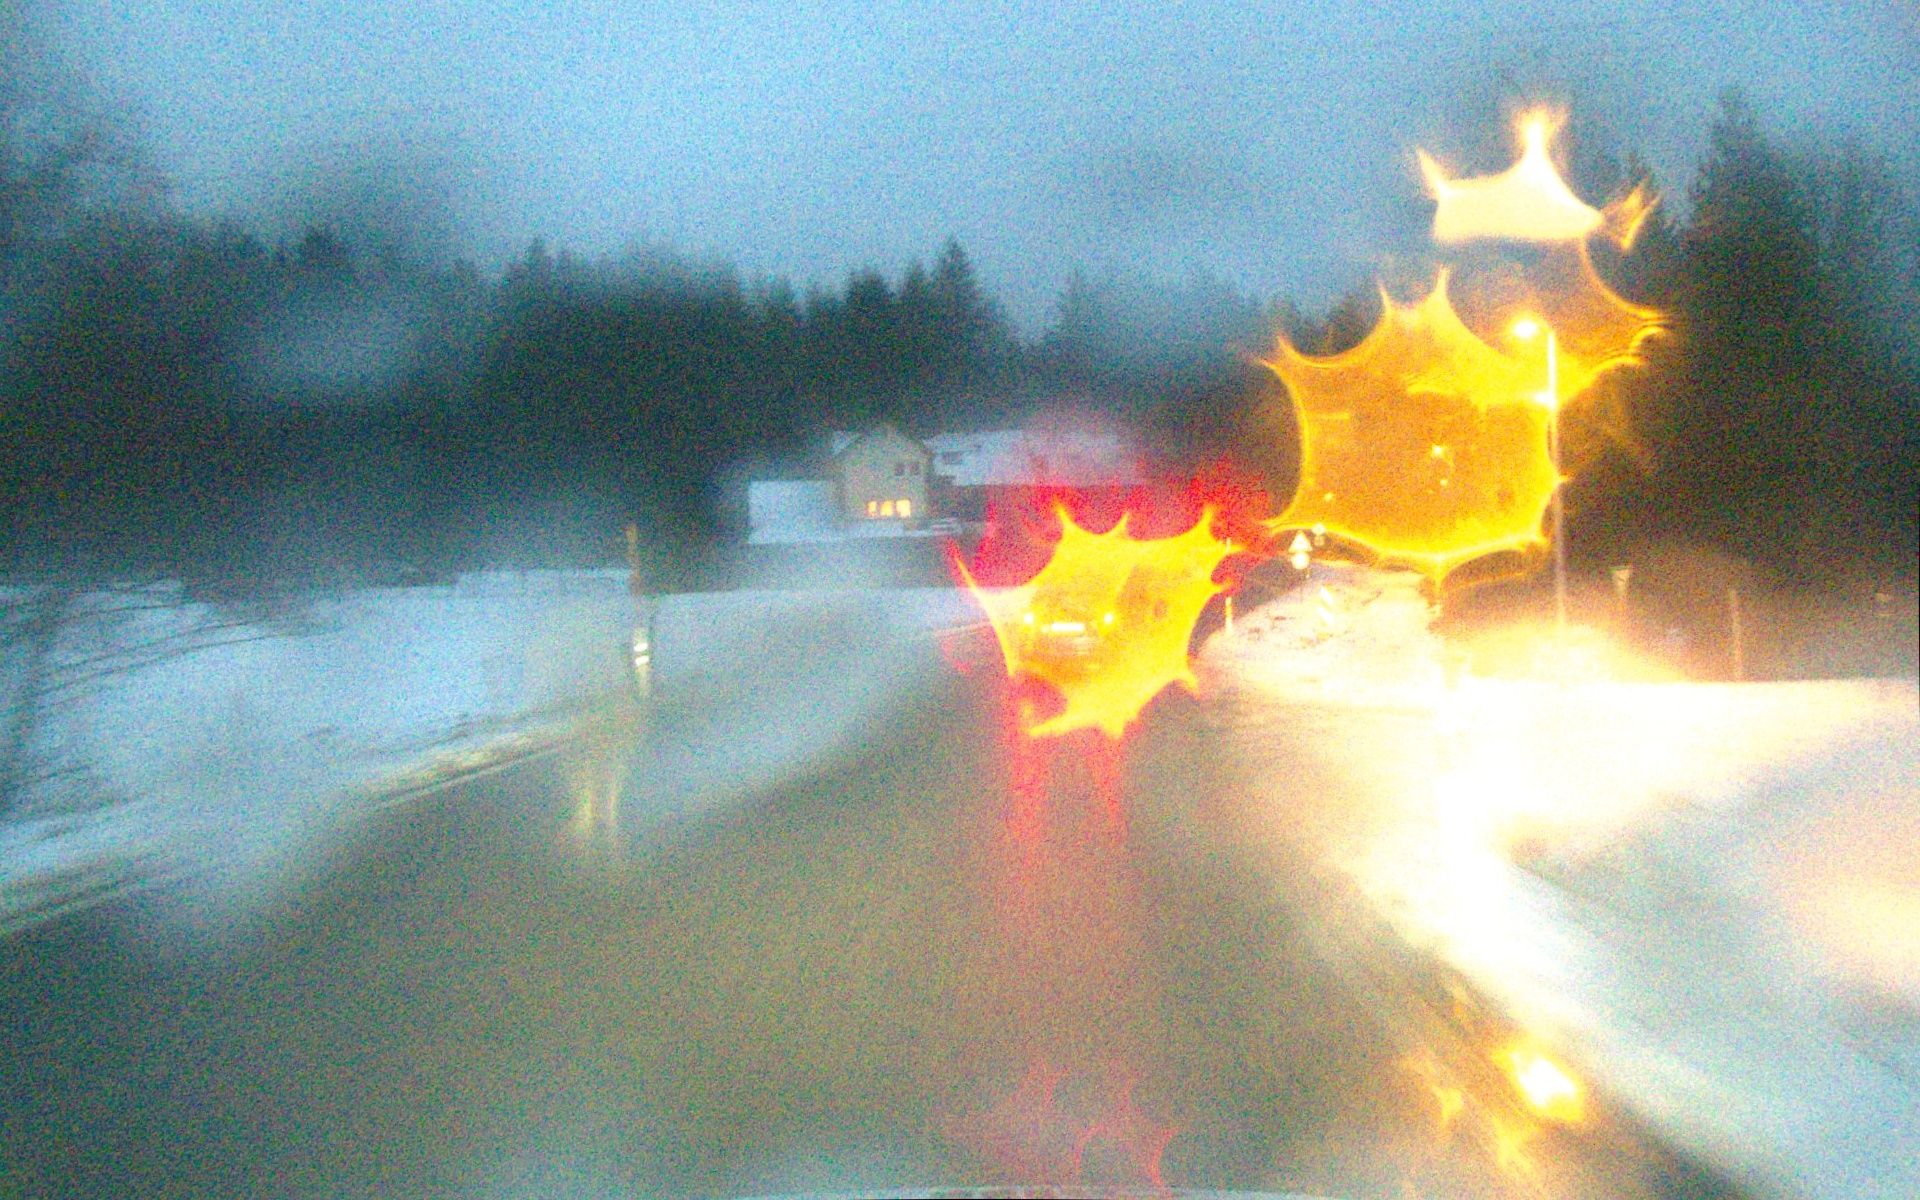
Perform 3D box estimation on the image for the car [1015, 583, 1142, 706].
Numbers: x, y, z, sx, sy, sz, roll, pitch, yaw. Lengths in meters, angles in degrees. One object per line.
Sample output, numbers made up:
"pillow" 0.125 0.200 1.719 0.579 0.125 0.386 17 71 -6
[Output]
"car" 1.890 0.706 27.454 1.785 1.828 3.577 -3 -1 0
